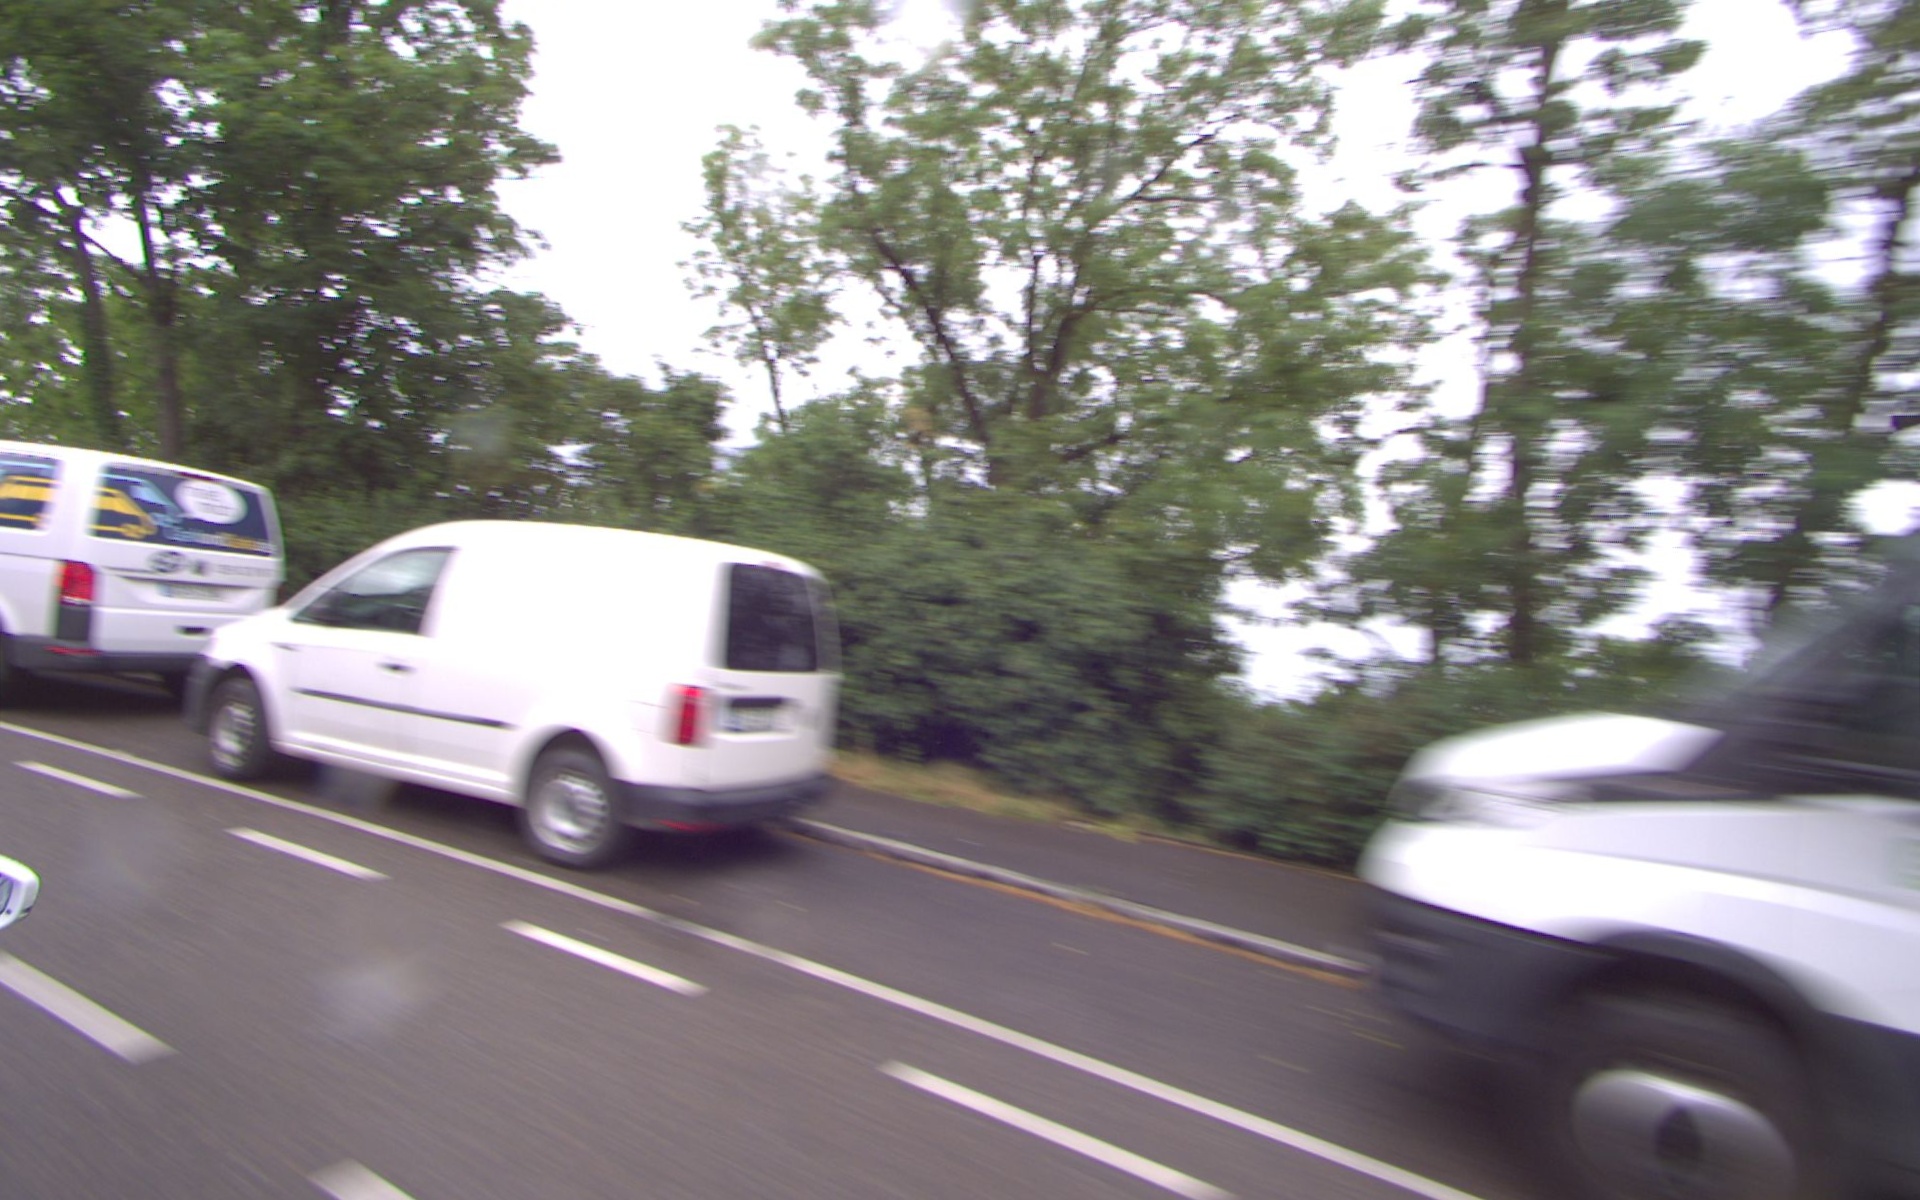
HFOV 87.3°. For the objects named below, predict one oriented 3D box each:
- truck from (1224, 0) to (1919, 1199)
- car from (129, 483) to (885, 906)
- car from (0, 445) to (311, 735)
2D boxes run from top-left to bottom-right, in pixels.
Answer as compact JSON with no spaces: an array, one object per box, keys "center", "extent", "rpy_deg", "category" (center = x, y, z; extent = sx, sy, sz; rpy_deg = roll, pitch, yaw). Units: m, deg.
[{"center":[5.300,0.419,1.538],"extent":[8.798,3.514,2.772],"rpy_deg":[6,0,37],"category":"truck"},{"center":[-2.915,0.427,6.536],"extent":[4.298,1.792,1.866],"rpy_deg":[7,-1,21],"category":"car"},{"center":[-8.327,-0.271,8.438],"extent":[4.716,1.971,1.868],"rpy_deg":[7,-1,11],"category":"car"}]
